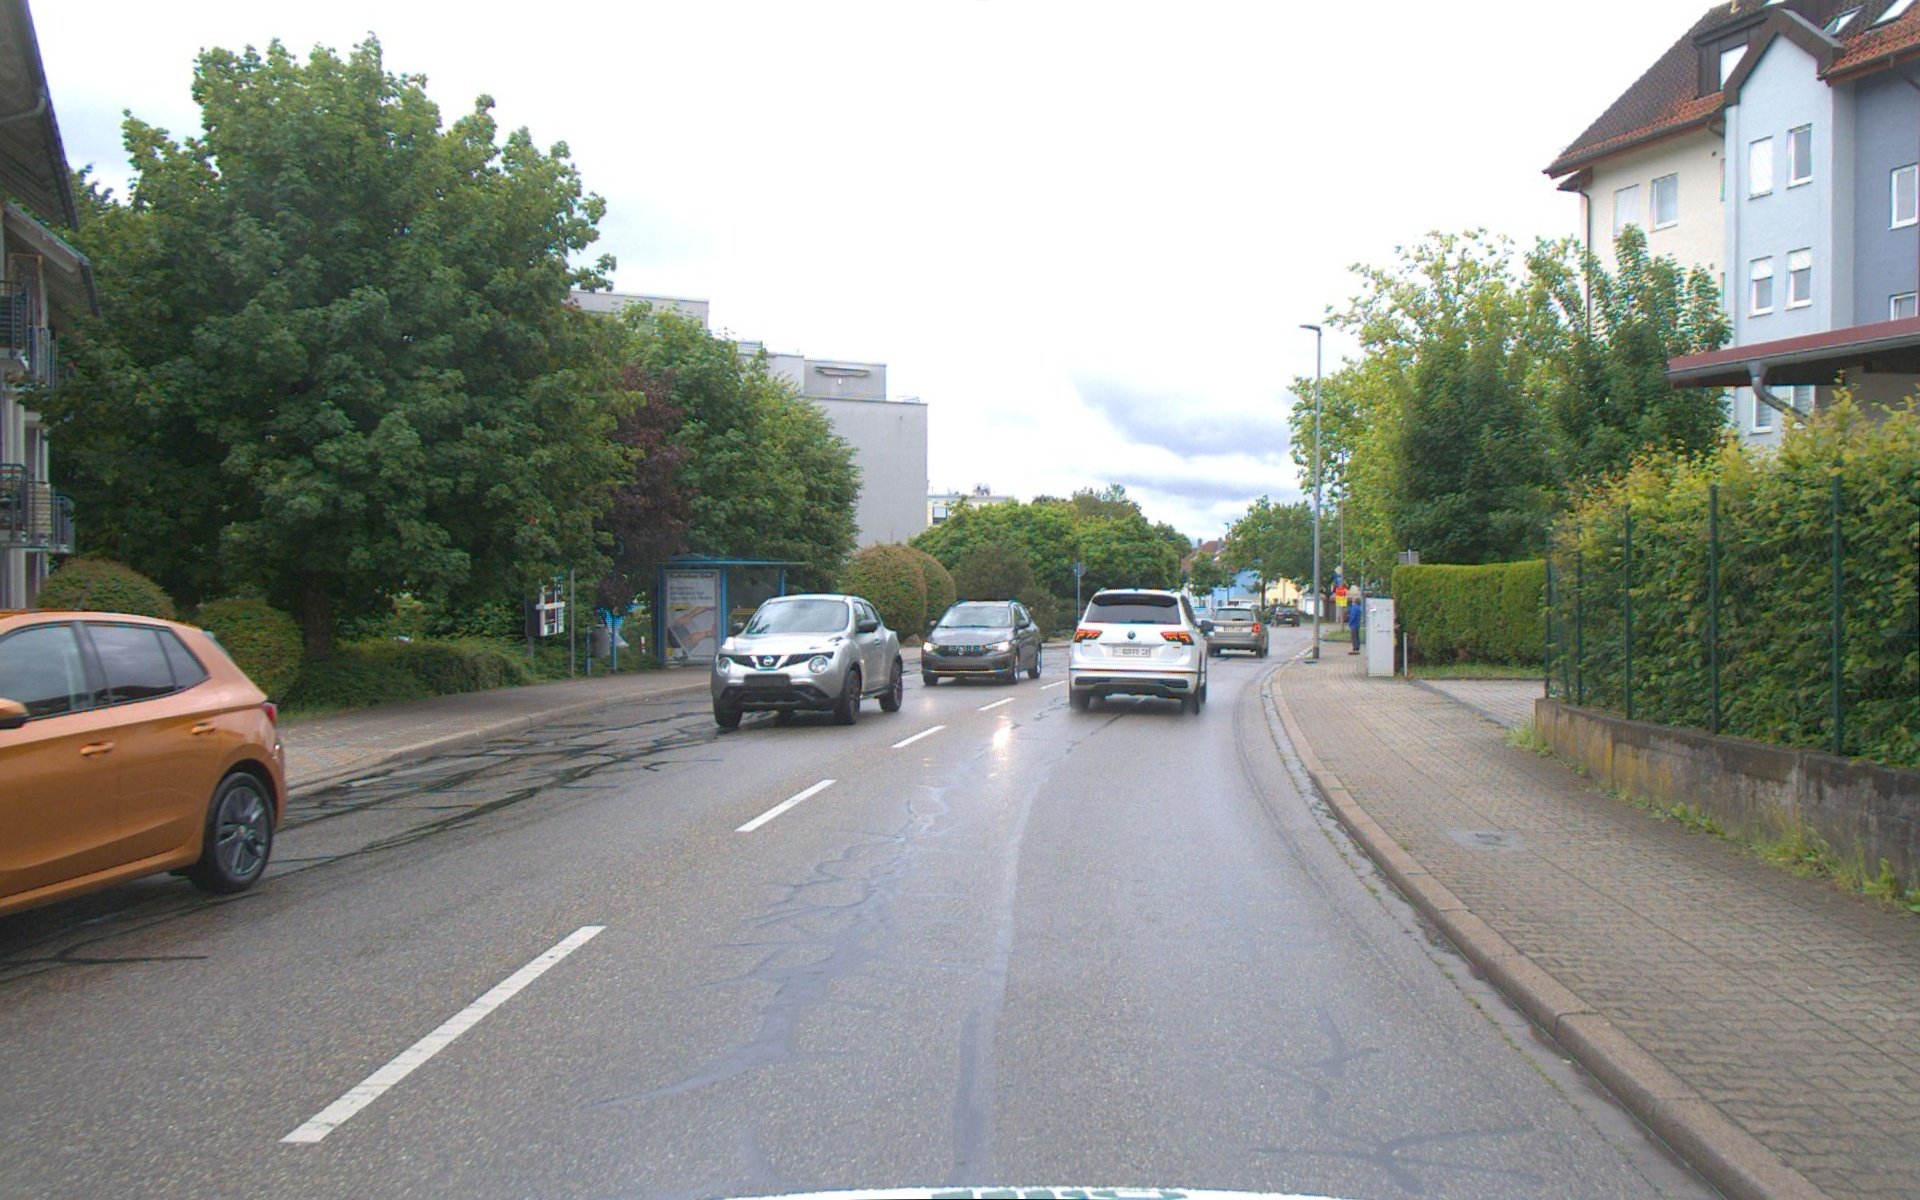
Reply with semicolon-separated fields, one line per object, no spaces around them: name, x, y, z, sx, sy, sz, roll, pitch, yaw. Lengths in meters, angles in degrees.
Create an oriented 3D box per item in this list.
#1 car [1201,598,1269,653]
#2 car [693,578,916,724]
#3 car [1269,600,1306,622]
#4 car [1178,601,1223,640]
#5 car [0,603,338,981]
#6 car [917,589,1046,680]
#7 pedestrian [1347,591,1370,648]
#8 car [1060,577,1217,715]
car;8.129;0.797;48.688;1.727;1.536;4.003;0;-2;13
car;-1.876;0.595;21.263;1.861;1.686;4.119;0;0;9
car;23.568;0.790;119.176;1.964;1.482;4.000;0;-2;1
car;10.844;0.887;74.401;1.861;1.686;4.119;0;0;10
car;-4.589;0.753;7.152;1.861;1.465;4.118;0;0;7
car;0.477;0.611;31.413;1.861;1.617;4.119;0;0;9
pedestrian;11.904;0.591;49.397;0.558;1.701;0.722;-1;-2;21
car;2.661;0.587;23.841;1.880;1.752;4.268;1;0;11
